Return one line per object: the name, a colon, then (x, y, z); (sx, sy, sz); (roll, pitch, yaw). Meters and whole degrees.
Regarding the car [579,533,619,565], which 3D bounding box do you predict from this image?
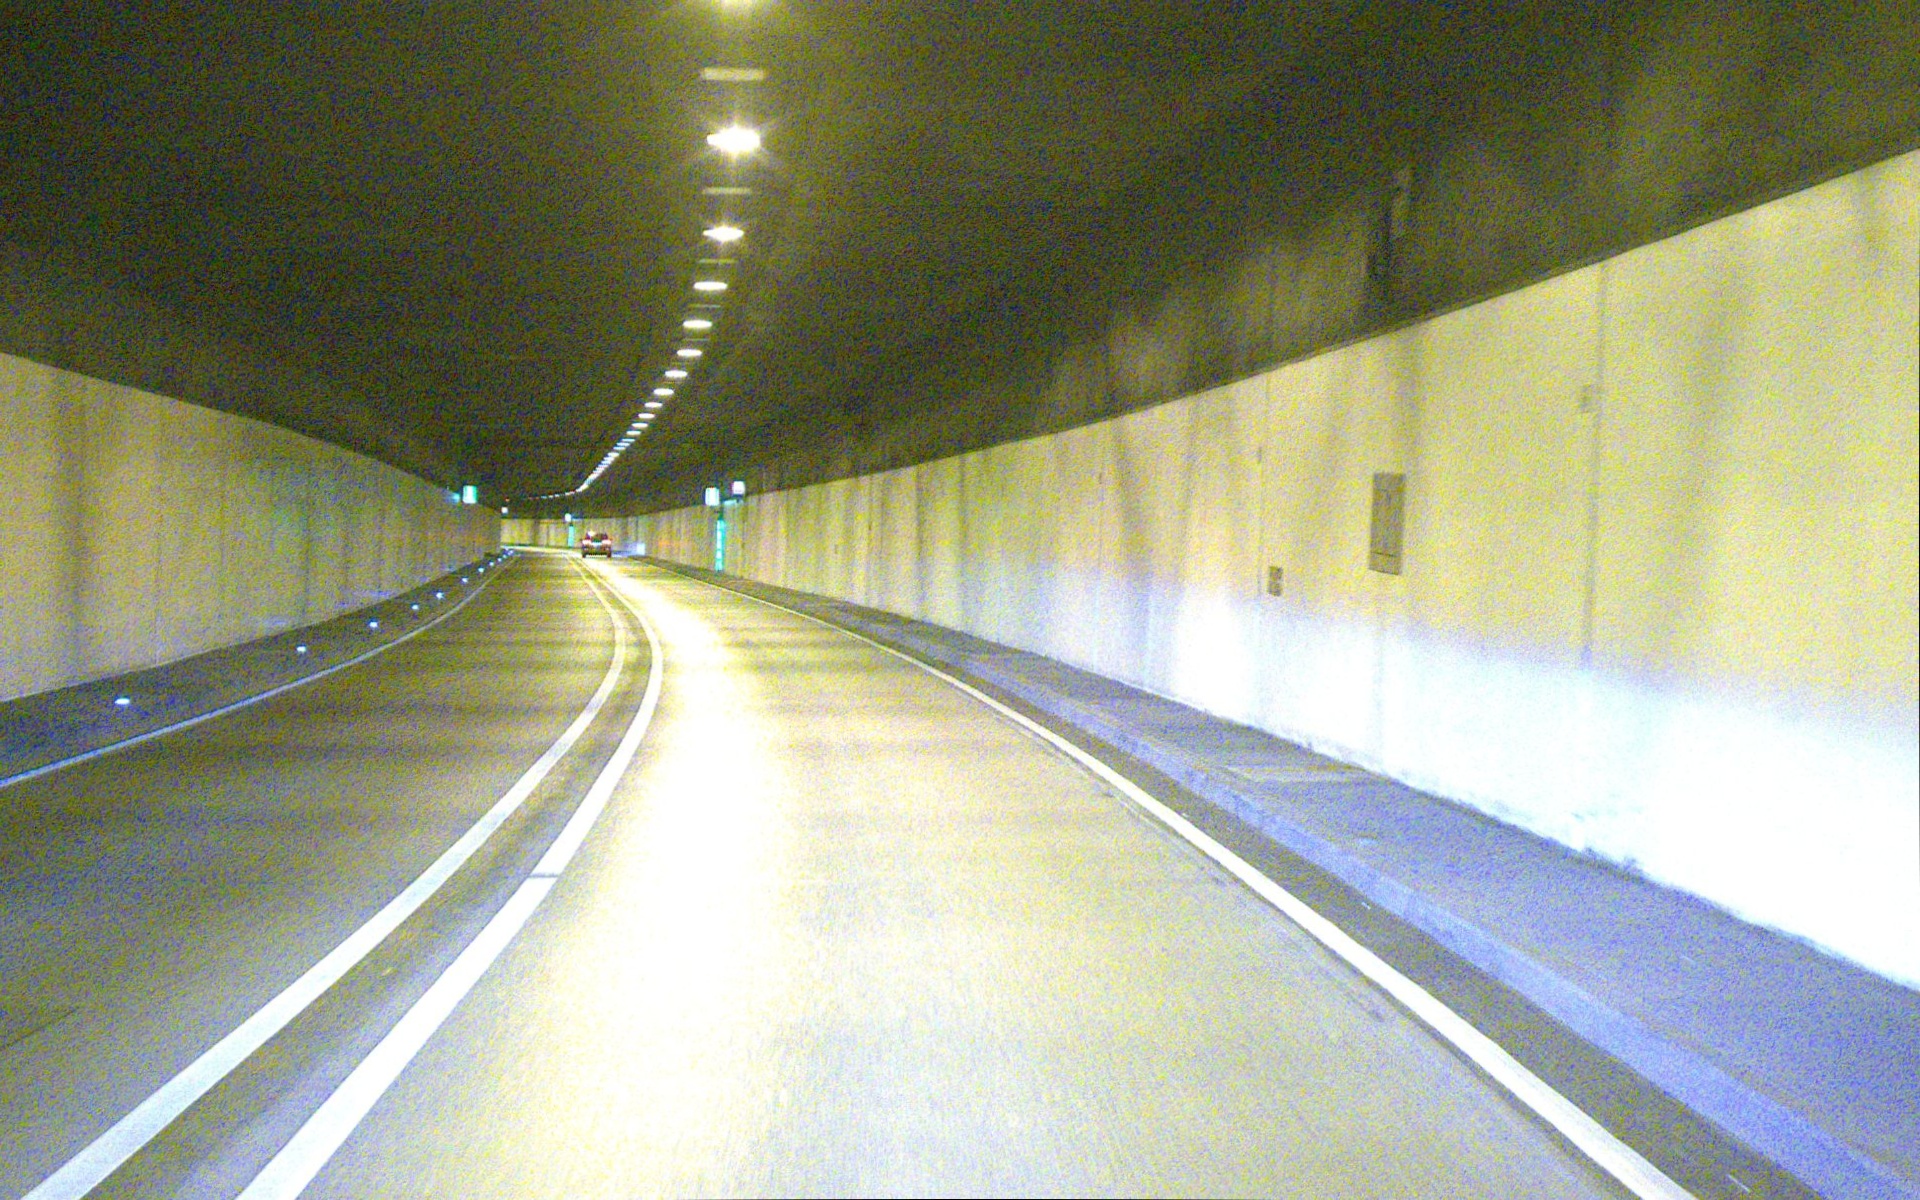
car: (-22.669, -3.186, 215.632); (1.966, 1.932, 4.614); (1, 0, -12)
